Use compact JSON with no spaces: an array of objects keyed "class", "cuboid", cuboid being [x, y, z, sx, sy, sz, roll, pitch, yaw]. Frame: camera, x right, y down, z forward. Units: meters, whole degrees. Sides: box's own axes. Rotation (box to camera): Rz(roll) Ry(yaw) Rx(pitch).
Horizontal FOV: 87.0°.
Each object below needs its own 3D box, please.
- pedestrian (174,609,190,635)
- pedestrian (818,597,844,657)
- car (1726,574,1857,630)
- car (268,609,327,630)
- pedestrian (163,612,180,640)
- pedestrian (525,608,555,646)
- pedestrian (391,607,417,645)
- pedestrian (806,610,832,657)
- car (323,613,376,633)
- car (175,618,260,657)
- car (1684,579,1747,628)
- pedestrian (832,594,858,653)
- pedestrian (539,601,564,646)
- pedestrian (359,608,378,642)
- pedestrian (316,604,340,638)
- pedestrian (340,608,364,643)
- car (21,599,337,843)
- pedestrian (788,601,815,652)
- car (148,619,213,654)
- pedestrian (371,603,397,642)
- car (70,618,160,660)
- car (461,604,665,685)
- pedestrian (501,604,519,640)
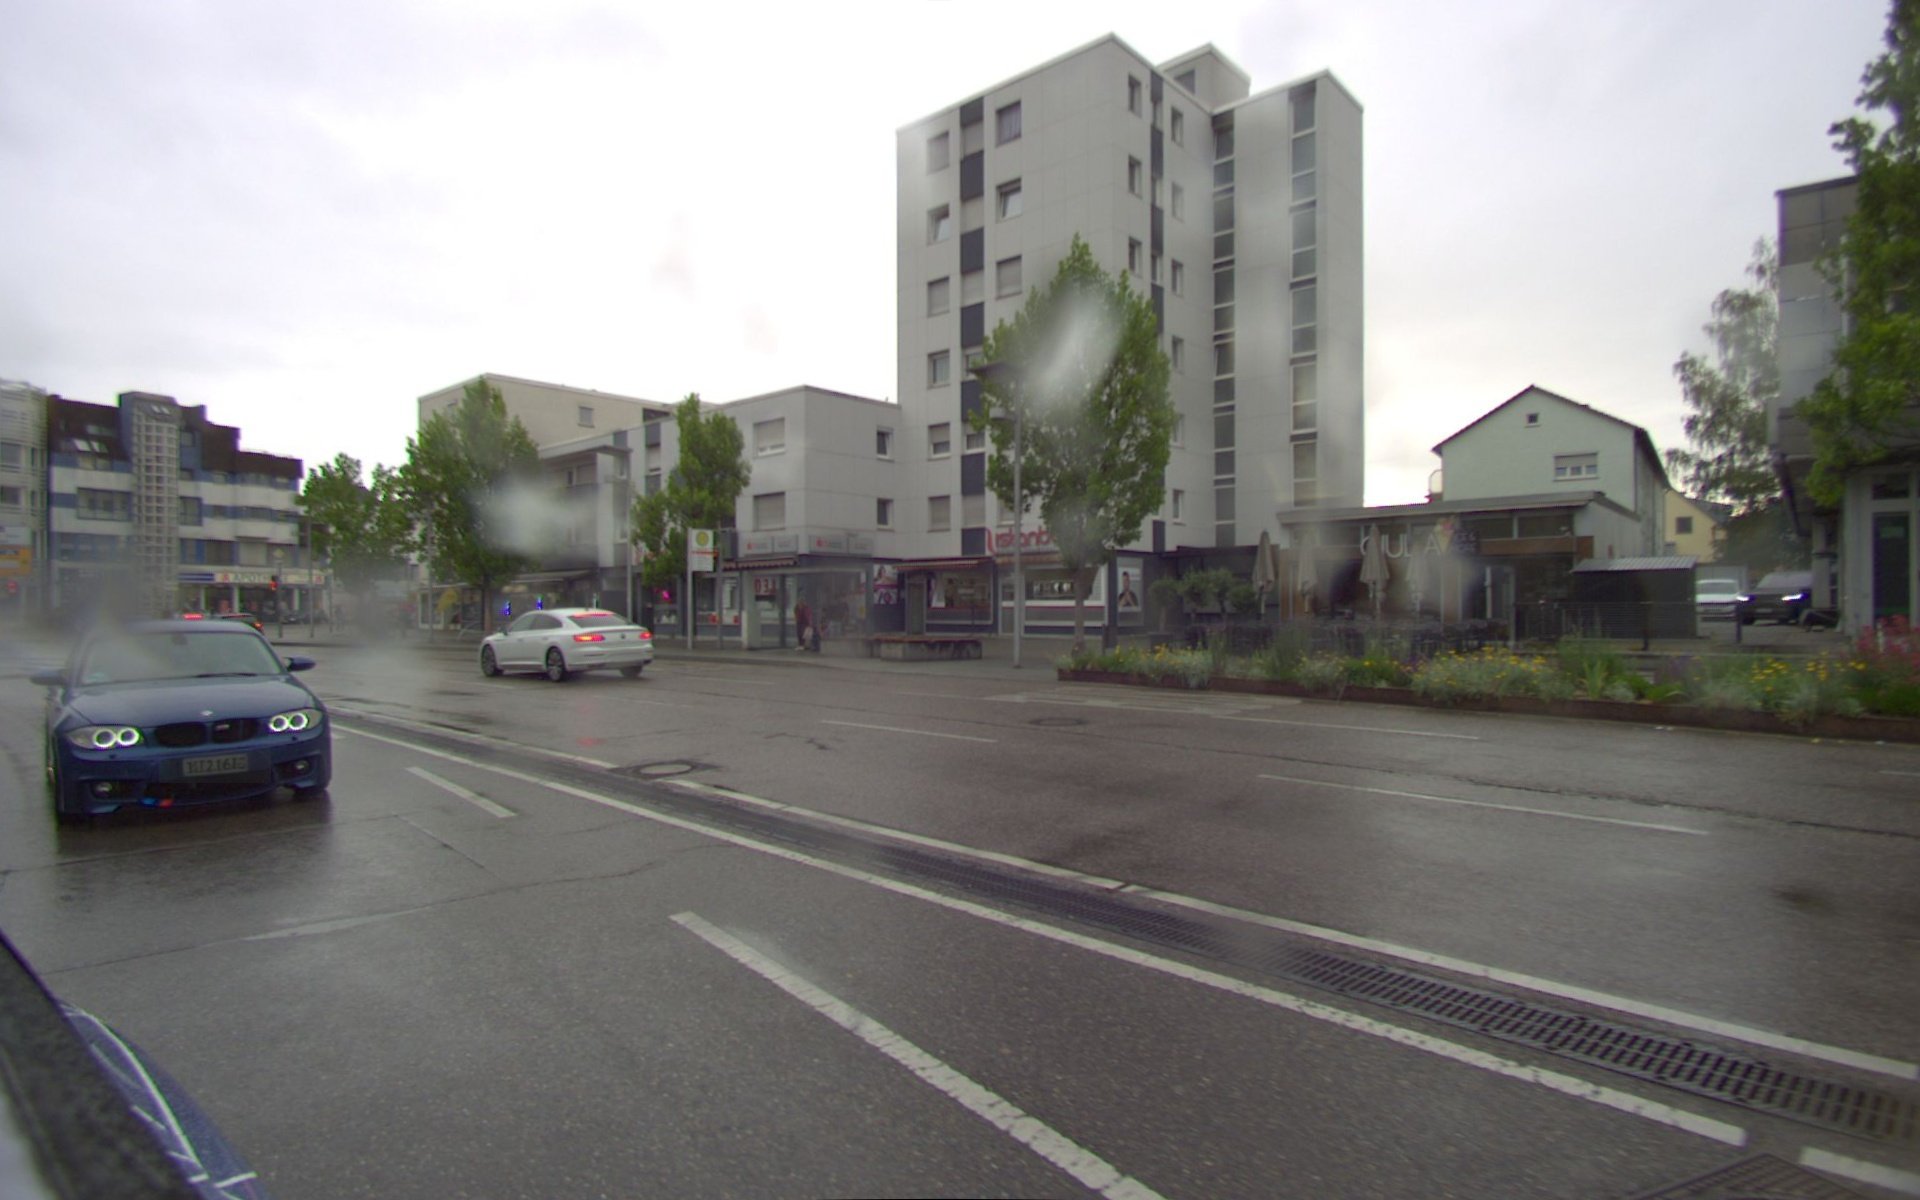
[{"class":"pedestrian","cuboid":[-52.019,1.472,67.682,0.672,1.756,0.587,-1,0,-24]},{"class":"pedestrian","cuboid":[-3.638,0.757,28.509,0.536,1.672,0.473,-2,-1,42]},{"class":"car","cuboid":[28.089,0.060,34.181,3.931,1.780,1.877,-1,0,-25]},{"class":"car","cuboid":[-56.195,1.652,85.930,1.736,1.733,3.866,-1,0,22]},{"class":"pedestrian","cuboid":[-51.509,1.691,66.120,0.826,1.756,0.585,-1,0,-44]},{"class":"pedestrian","cuboid":[-18.787,1.213,45.273,0.726,1.658,0.997,-2,0,40]},{"class":"pedestrian","cuboid":[-29.830,1.400,54.271,0.977,2.029,0.894,-2,-1,40]},{"class":"pedestrian","cuboid":[-4.153,0.990,29.798,0.528,1.362,0.579,0,-1,-43]},{"class":"car","cuboid":[-55.667,2.050,92.340,1.736,1.733,3.866,-1,0,22]},{"class":"car","cuboid":[-29.634,1.490,40.347,3.995,1.438,1.740,-2,-1,39]},{"class":"car","cuboid":[29.420,0.114,39.362,1.726,1.783,3.947,-2,-1,40]},{"class":"pedestrian","cuboid":[-3.296,0.665,29.085,0.528,1.672,0.480,0,-1,-43]},{"class":"pedestrian","cuboid":[-19.028,1.096,47.164,0.864,2.029,0.750,-2,-1,42]},{"class":"pedestrian","cuboid":[-36.226,1.514,61.985,0.863,2.029,0.751,-2,-1,39]},{"class":"pedestrian","cuboid":[-35.566,1.180,56.950,0.978,1.929,0.893,-2,-1,44]},{"class":"pedestrian","cuboid":[-34.783,1.457,57.853,0.977,1.929,0.894,-2,-1,40]},{"class":"car","cuboid":[-6.701,0.843,8.516,1.652,1.554,3.915,-1,-1,-44]},{"class":"pedestrian","cuboid":[-4.789,0.798,30.583,0.610,1.516,0.533,-1,-1,18]},{"class":"car","cuboid":[-34.890,1.580,45.275,1.737,1.437,4.891,-1,0,-44]},{"class":"pedestrian","cuboid":[-30.358,1.173,53.317,0.977,2.029,0.894,-2,-1,40]},{"class":"car","cuboid":[-31.417,1.427,37.580,4.097,1.477,1.684,-1,-2,37]},{"class":"car","cuboid":[-8.320,0.868,20.986,4.804,1.472,1.824,-1,0,40]},{"class":"pedestrian","cuboid":[-22.169,1.075,49.845,0.680,1.763,0.542,-2,-1,43]}]
